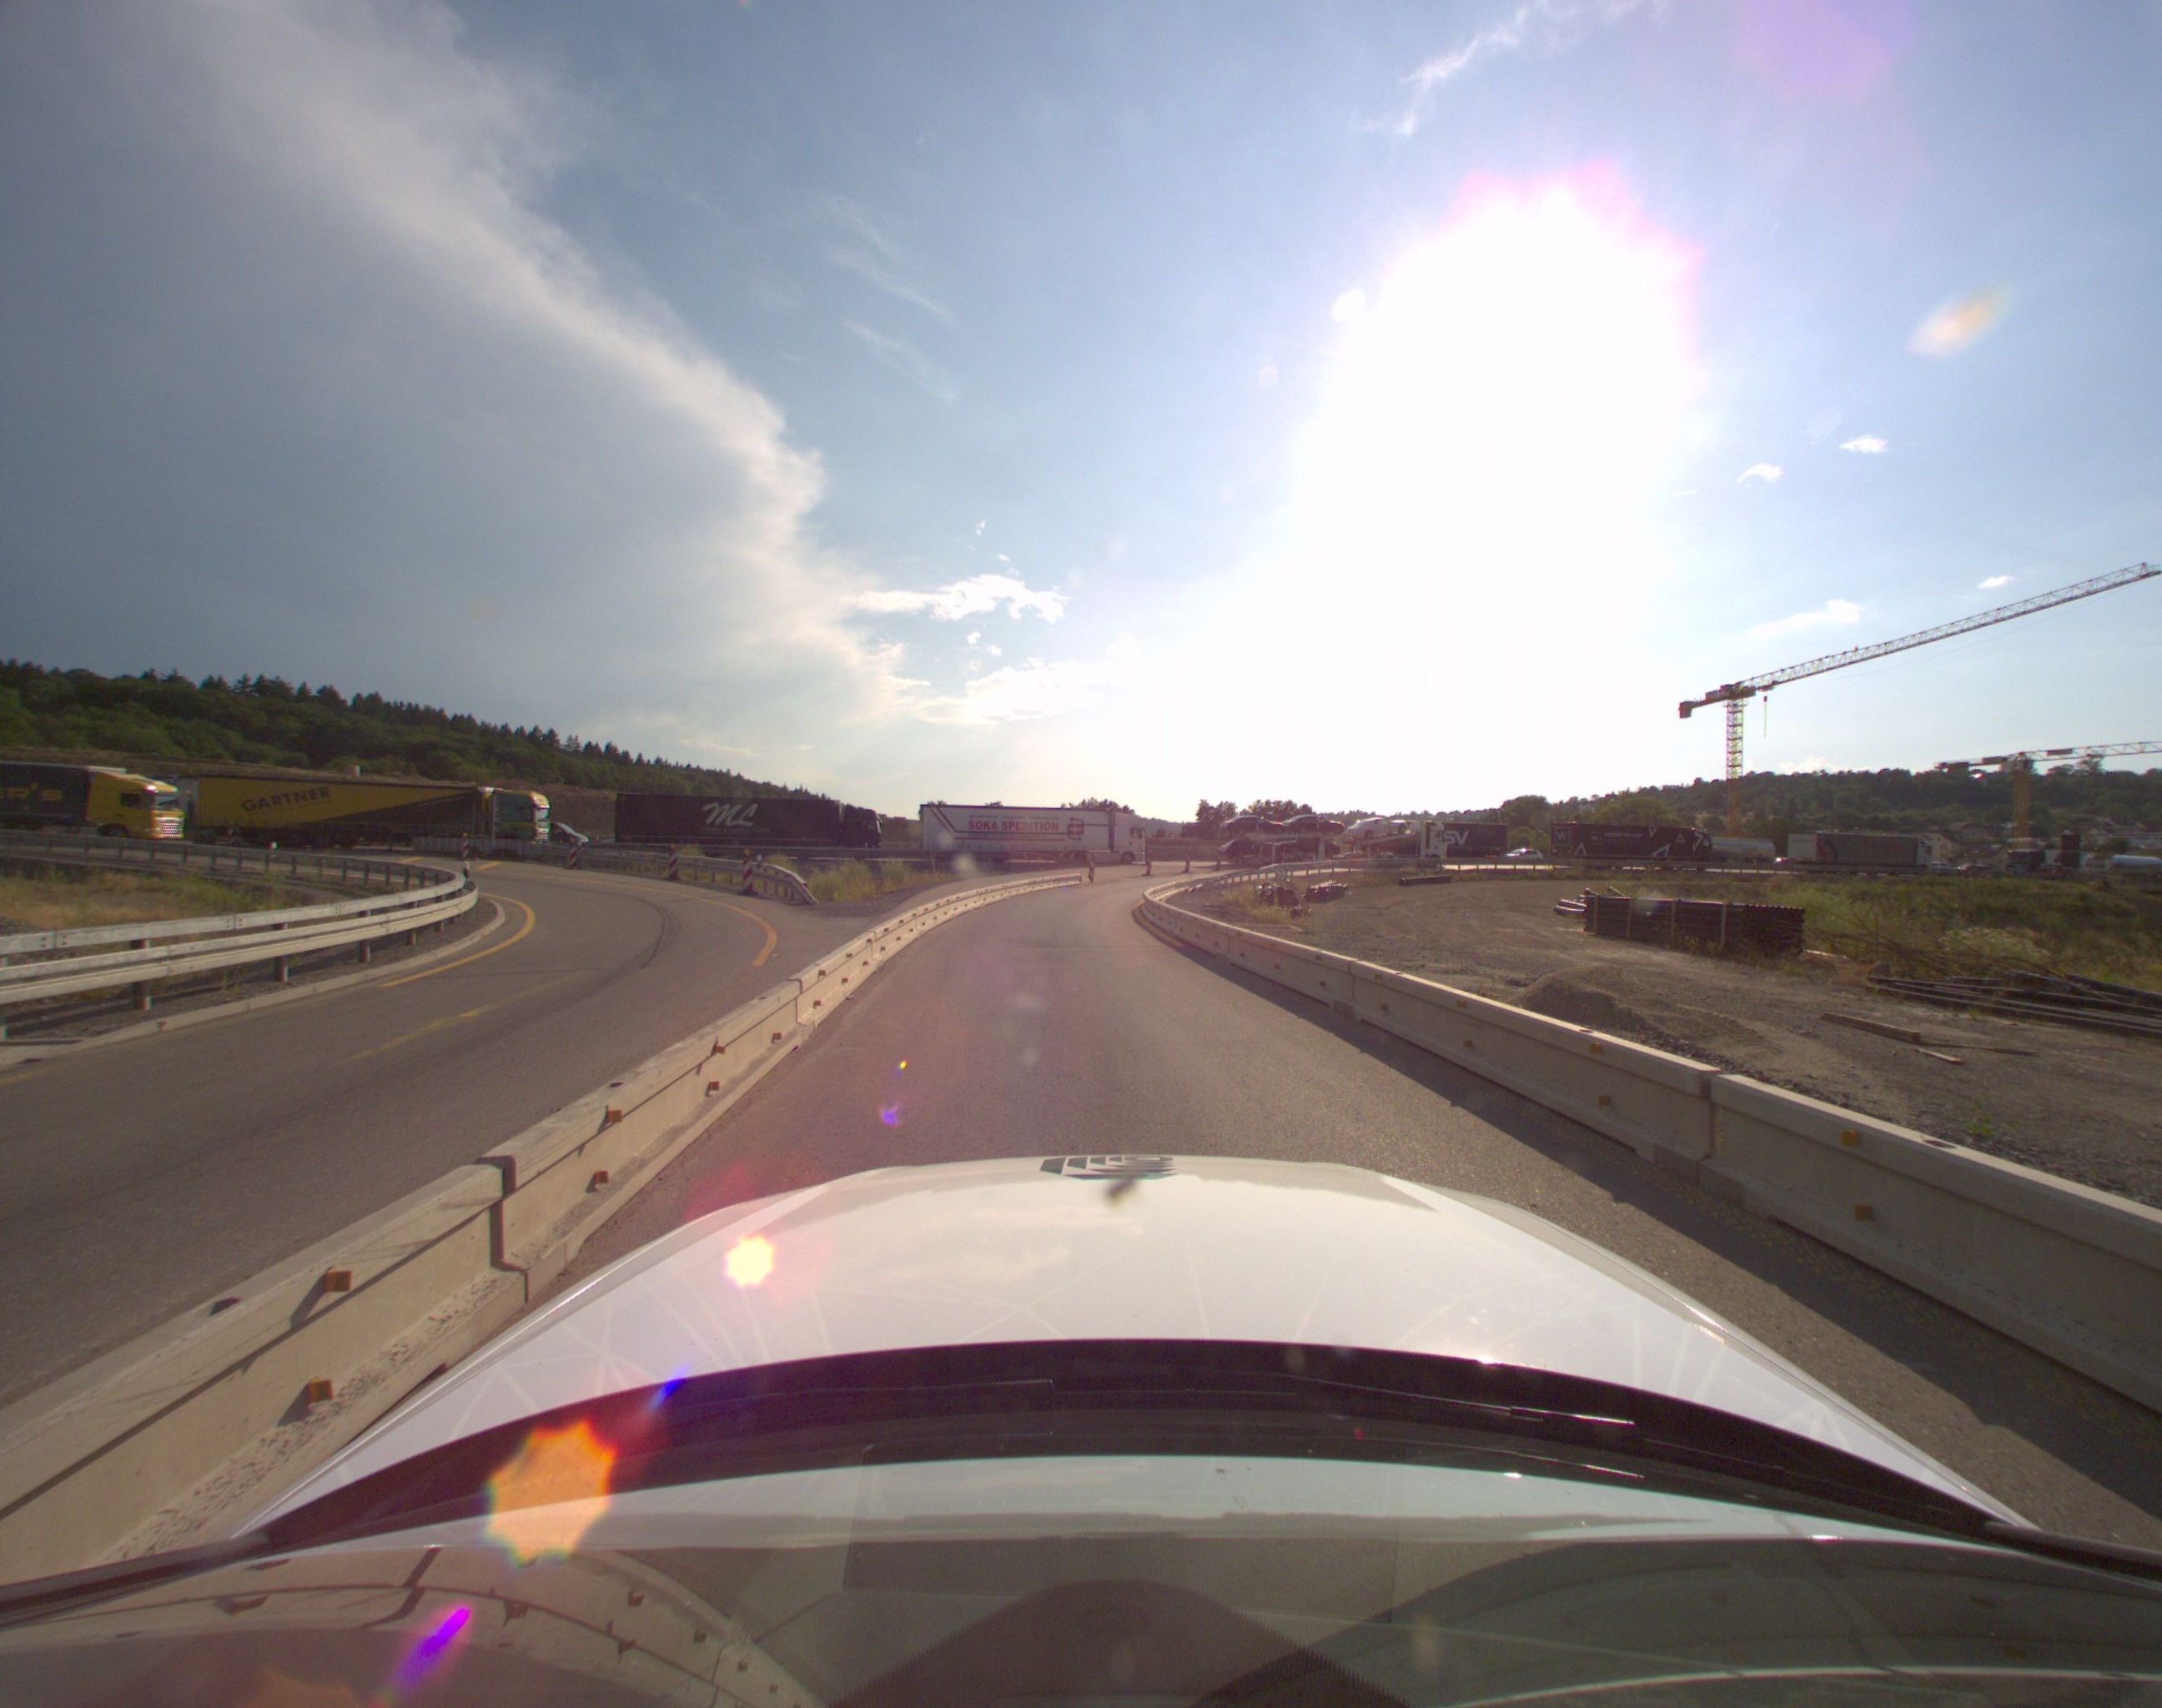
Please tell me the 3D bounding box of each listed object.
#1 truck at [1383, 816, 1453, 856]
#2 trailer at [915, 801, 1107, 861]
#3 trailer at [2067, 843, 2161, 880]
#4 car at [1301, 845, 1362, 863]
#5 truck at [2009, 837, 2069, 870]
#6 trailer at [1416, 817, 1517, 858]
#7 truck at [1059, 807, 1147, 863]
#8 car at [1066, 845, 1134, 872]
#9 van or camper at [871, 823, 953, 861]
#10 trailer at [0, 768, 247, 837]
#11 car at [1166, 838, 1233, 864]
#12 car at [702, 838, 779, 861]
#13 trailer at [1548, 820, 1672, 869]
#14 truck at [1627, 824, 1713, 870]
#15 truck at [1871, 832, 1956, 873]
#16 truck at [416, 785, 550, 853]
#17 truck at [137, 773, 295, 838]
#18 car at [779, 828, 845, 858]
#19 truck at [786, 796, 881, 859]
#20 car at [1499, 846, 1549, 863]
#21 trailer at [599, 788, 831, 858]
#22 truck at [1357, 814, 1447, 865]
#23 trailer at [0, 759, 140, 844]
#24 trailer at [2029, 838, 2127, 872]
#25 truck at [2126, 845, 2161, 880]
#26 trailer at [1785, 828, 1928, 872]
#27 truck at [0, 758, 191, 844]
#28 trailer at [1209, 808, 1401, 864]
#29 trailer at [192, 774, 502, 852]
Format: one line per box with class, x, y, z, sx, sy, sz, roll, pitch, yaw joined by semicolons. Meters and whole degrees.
truck;33.260;-1.710;80.465;5.679;3.727;2.991;1;-1;-15
trailer;-4.980;-1.586;59.022;13.613;3.878;2.475;1;1;-16
trailer;121.849;0.896;94.748;14.724;3.996;3.378;1;0;-16
car;22.877;-0.017;74.371;4.971;1.500;2.026;1;2;-15
truck;122.630;-0.016;104.284;6.119;4.066;2.623;1;-1;-15
trailer;38.751;-1.584;81.916;9.553;3.752;3.002;1;-1;-15
truck;1.630;-1.401;60.929;6.003;3.878;2.475;1;1;-16
car;1.509;0.321;64.403;4.971;1.980;2.026;1;2;-15
van or camper;-12.596;-0.909;60.724;5.892;2.619;1.991;1;1;-14
trailer;-63.654;-3.294;52.935;13.457;3.996;2.852;1;0;-16
car;9.633;-0.267;66.356;4.971;1.980;2.026;1;2;-15
car;-24.826;-0.348;59.557;4.971;1.500;2.026;1;2;-15
trailer;48.044;-0.770;73.987;10.774;4.092;2.954;1;0;-15
truck;54.747;-0.646;75.760;6.612;3.996;2.881;1;0;-15
truck;86.169;-0.160;84.306;6.615;3.996;3.337;1;0;-16
truck;-36.630;-2.103;50.096;6.002;3.901;2.476;1;1;-15
truck;-57.764;-3.146;54.579;6.615;3.996;2.843;1;0;-16
car;-19.133;-0.736;58.024;4.326;2.014;1.518;1;-1;-16
truck;-16.892;-1.760;55.743;6.006;4.060;2.474;1;1;-17
car;43.404;0.077;79.803;4.231;1.500;1.654;1;2;-15
trailer;-23.665;-1.939;53.636;13.616;4.061;2.475;1;1;-17
truck;26.908;-1.173;68.261;6.615;3.996;2.843;1;0;-16
trailer;-60.708;-2.921;43.513;14.228;4.314;3.098;1;-1;-15
trailer;130.097;0.129;106.249;14.056;4.066;2.623;1;-1;-15
truck;128.666;1.042;96.700;6.615;3.996;3.384;1;0;-16
trailer;78.246;-0.339;82.107;14.724;3.996;3.378;1;0;-16
truck;-54.897;-2.821;45.066;6.884;4.314;3.098;1;-1;-15
trailer;18.189;-1.395;65.808;15.724;3.996;2.852;1;0;-16
trailer;-43.022;-2.308;48.373;13.954;3.958;2.476;1;1;-15
